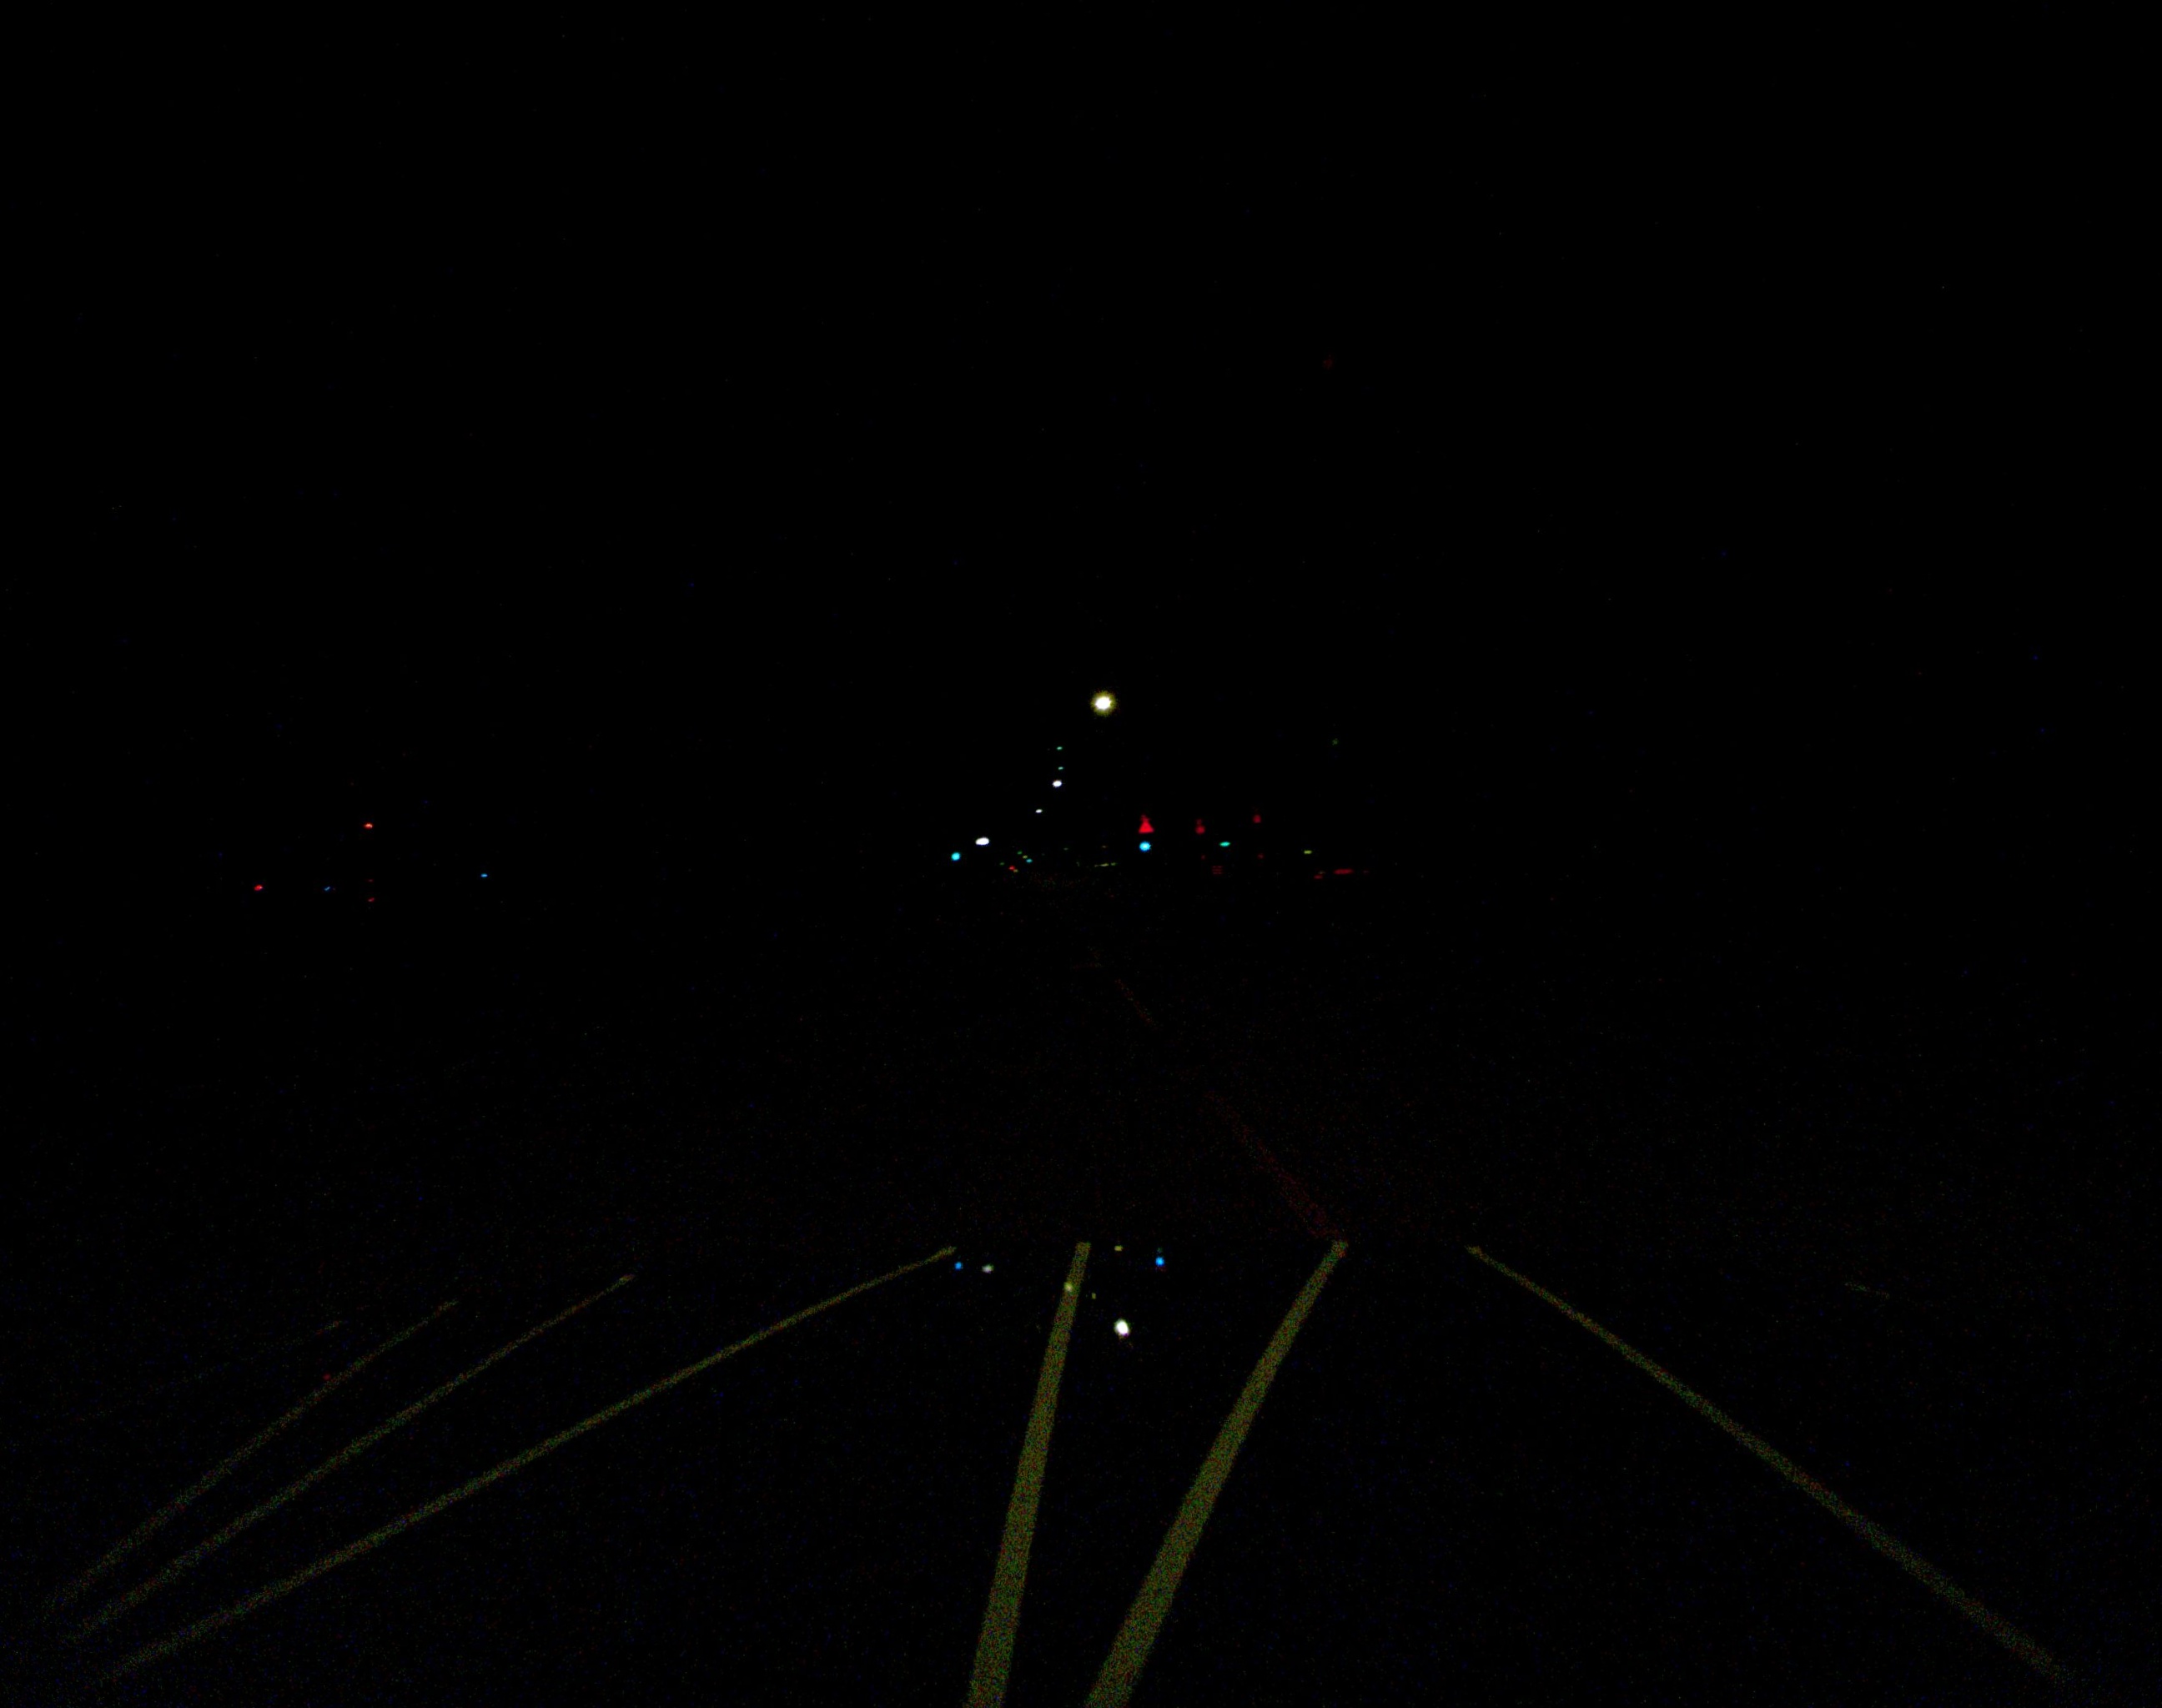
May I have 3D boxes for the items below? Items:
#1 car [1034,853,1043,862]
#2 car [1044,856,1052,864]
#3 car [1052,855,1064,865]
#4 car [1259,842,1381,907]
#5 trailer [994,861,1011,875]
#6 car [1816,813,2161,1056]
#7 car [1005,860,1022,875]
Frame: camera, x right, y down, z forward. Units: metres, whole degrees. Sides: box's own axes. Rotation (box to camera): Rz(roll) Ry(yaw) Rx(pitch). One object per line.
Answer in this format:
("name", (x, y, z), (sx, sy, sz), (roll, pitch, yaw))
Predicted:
("car", (-11.976, 1.057, 215.115), (2.006, 2.493, 4.951), (-6, 0, -7))
("car", (-7.410, 1.315, 170.455), (1.827, 1.637, 3.730), (-2, 0, -4))
("car", (-4.350, 1.100, 142.671), (1.883, 1.798, 3.730), (-6, 0, -4))
("car", (6.402, 0.516, 20.831), (1.719, 1.485, 3.988), (-4, 0, -5))
("trailer", (-9.484, 1.701, 92.350), (1.605, 1.486, 3.733), (-4, 0, -1))
("car", (7.591, 0.469, 4.376), (1.773, 1.477, 4.765), (-3, 0, -6))
("car", (-7.374, 1.467, 83.668), (1.591, 1.452, 3.796), (-4, 0, -3))
